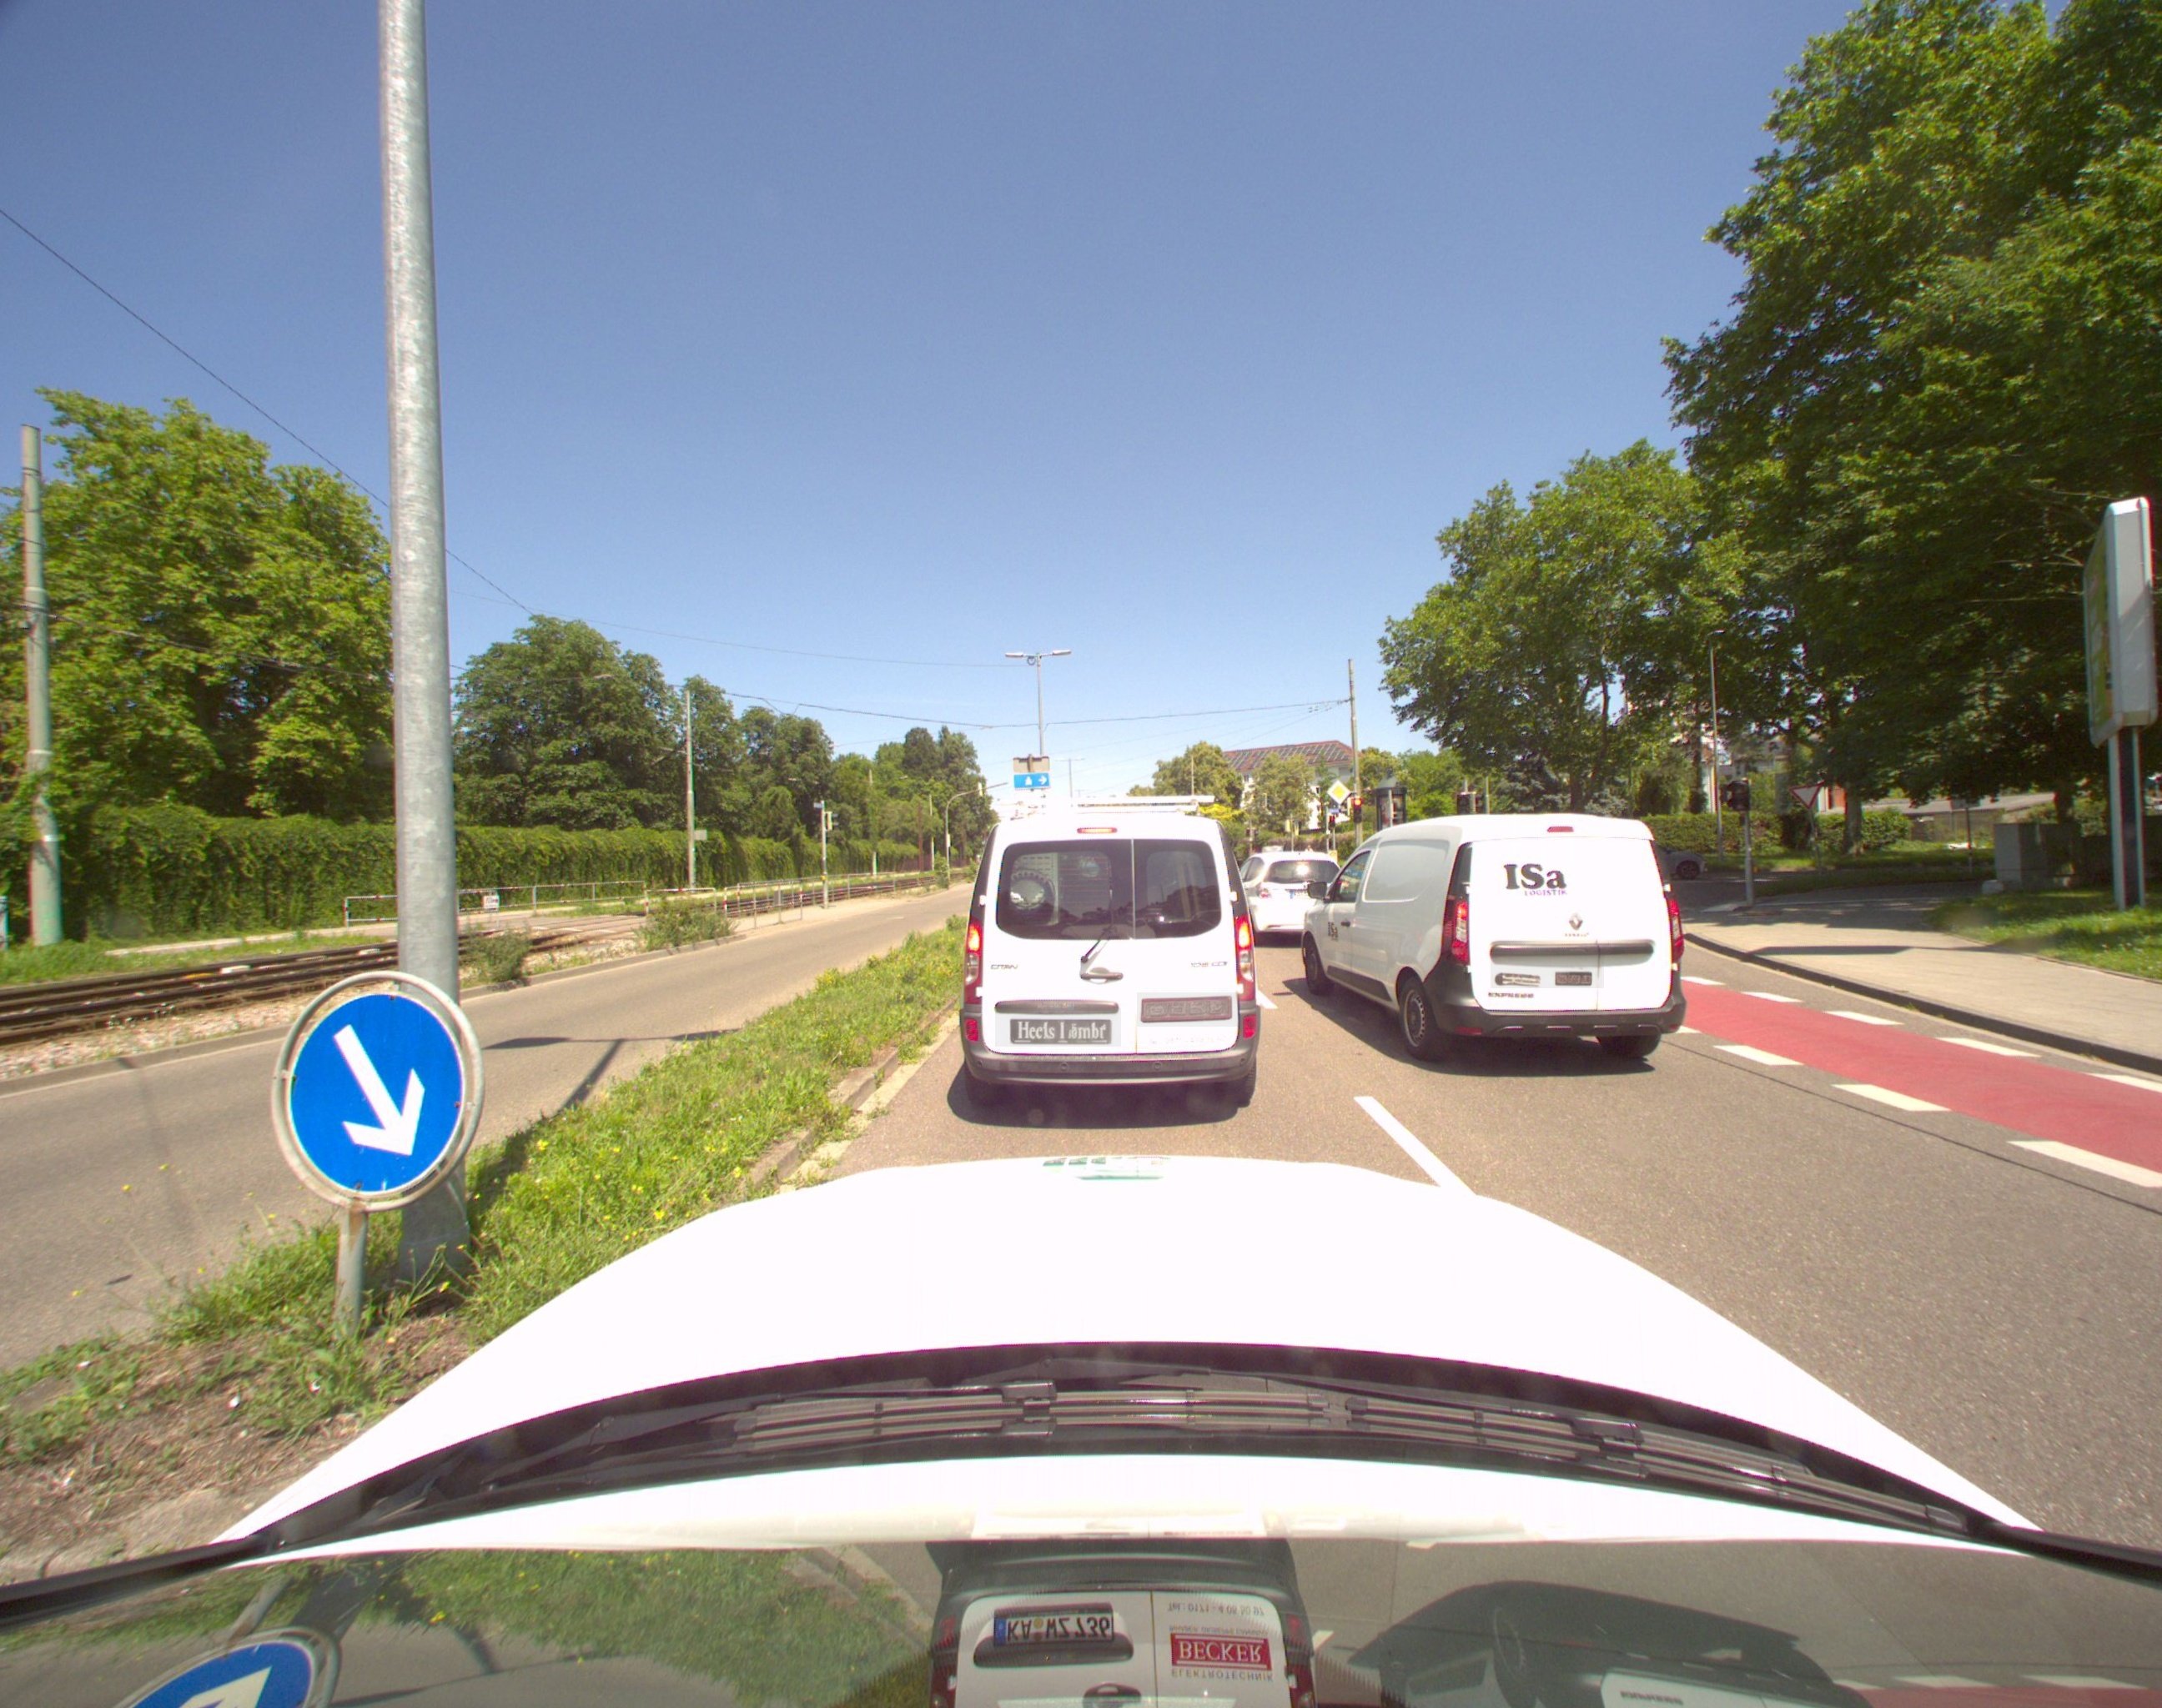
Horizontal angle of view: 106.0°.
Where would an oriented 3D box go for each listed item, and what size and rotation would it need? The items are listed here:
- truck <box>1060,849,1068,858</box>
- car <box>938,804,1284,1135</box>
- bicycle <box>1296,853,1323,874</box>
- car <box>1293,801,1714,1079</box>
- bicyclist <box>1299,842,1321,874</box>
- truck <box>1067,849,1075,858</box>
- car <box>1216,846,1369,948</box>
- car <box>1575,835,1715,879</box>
[{"bbox_3d":[-5.048,-0.133,240.632,2.131,2.587,5.891,0,-1,2],"label":"truck"},{"bbox_3d":[0.227,0.622,6.540,1.814,1.739,4.398,-1,0,2],"label":"car"},{"bbox_3d":[13.265,0.559,47.364,0.891,1.159,1.952,-2,-1,-5],"label":"bicycle"},{"bbox_3d":[3.267,0.565,7.317,1.721,1.788,4.065,0,0,1],"label":"car"},{"bbox_3d":[13.296,0.221,47.344,0.972,1.788,0.725,-1,-1,-6],"label":"bicyclist"},{"bbox_3d":[-2.770,-0.220,231.971,2.131,2.587,5.891,0,-1,2],"label":"truck"},{"bbox_3d":[3.613,0.658,14.635,1.828,1.568,4.002,0,0,2],"label":"car"},{"bbox_3d":[21.225,0.118,30.826,3.958,1.520,1.759,-2,-1,14],"label":"car"}]
